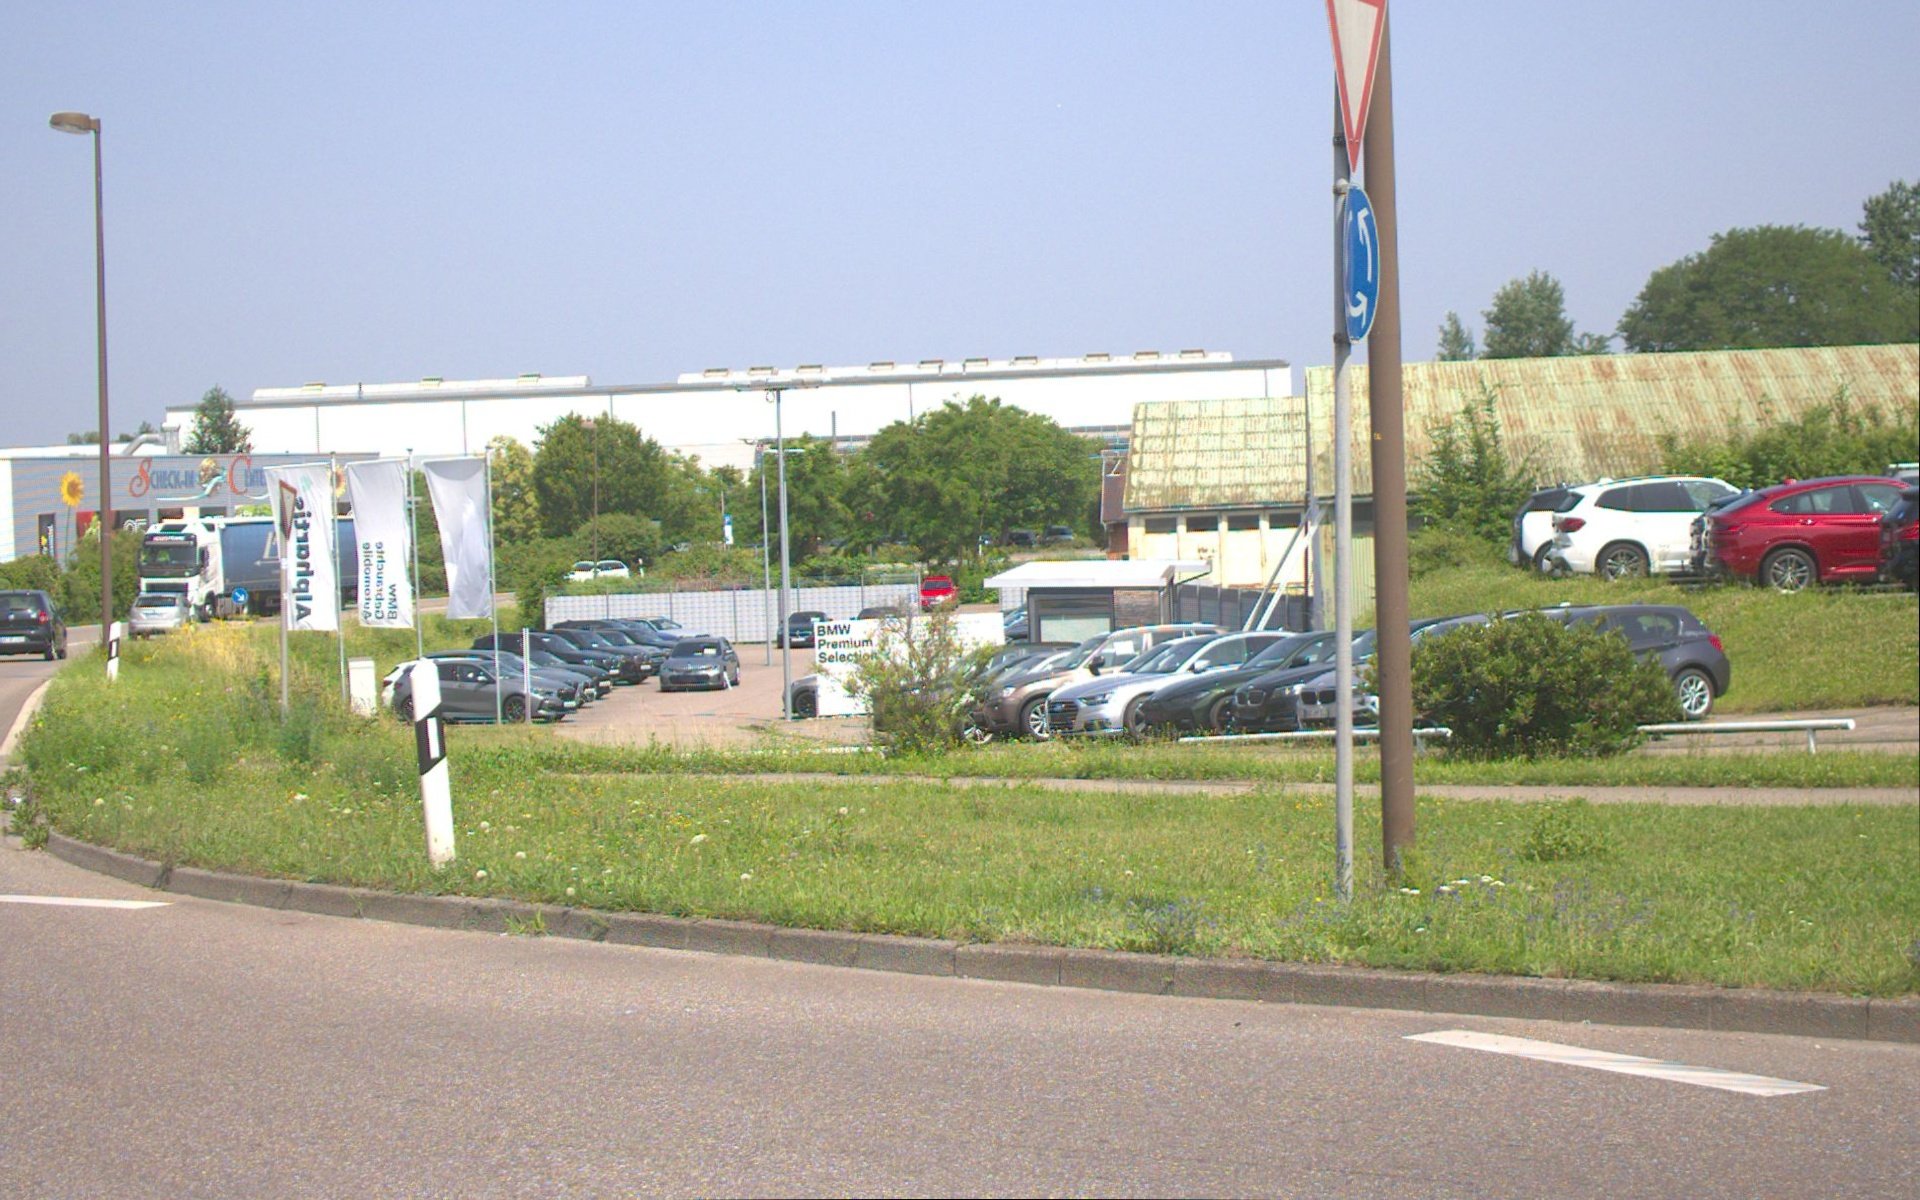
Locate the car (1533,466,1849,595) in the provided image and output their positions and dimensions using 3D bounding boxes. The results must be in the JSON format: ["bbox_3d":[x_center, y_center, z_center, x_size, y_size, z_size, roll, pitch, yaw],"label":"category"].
[{"bbox_3d":[11.179,-1.062,52.818,4.454,1.741,1.839,-3,1,3],"label":"car"}]

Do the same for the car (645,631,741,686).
[{"bbox_3d":[-7.576,1.654,98.079,2.135,1.452,4.531,-1,0,3],"label":"car"}]

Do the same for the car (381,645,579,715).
[{"bbox_3d":[-10.879,1.817,77.932,4.163,1.518,1.688,-1,0,23],"label":"car"}]

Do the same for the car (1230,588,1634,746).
[{"bbox_3d":[5.890,0.837,42.858,4.557,1.560,1.923,-4,-1,-24],"label":"car"}]

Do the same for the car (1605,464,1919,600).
[{"bbox_3d":[11.805,-0.997,50.094,4.454,1.741,1.839,-3,1,3],"label":"car"}]

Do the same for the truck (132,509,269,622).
[{"bbox_3d":[-29.750,-1.389,134.903,2.515,4.243,6.109,-2,0,15],"label":"truck"}]

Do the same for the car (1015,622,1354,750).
[{"bbox_3d":[3.261,1.245,49.928,4.420,1.460,1.923,-4,-1,-24],"label":"car"}]

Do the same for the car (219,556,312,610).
[{"bbox_3d":[-26.776,-0.654,132.710,1.995,2.007,3.998,-1,0,13],"label":"car"}]

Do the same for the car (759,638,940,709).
[{"bbox_3d":[-2.609,1.734,81.290,3.959,1.518,1.751,-2,0,11],"label":"car"}]

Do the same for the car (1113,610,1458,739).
[{"bbox_3d":[4.479,1.034,47.513,4.247,1.408,1.923,-5,-1,-16],"label":"car"}]

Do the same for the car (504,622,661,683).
[{"bbox_3d":[-11.230,1.558,102.170,4.228,1.695,1.916,-1,3,27],"label":"car"}]

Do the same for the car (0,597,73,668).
[{"bbox_3d":[-20.325,0.689,73.882,1.828,1.465,4.411,-1,0,-6],"label":"car"}]

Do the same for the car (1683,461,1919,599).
[{"bbox_3d":[12.467,-1.010,47.712,4.454,1.741,1.949,-3,1,3],"label":"car"}]

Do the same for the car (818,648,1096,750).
[{"bbox_3d":[-0.063,1.758,61.583,4.479,1.634,2.148,-2,-1,-20],"label":"car"}]

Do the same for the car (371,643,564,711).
[{"bbox_3d":[-11.631,1.817,81.233,4.162,1.518,1.750,-1,0,19],"label":"car"}]

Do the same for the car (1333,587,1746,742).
[{"bbox_3d":[6.796,0.746,40.185,4.558,1.416,1.783,-4,-1,-30],"label":"car"}]

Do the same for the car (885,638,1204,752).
[{"bbox_3d":[1.366,1.561,56.376,4.765,1.503,2.000,-4,-1,-16],"label":"car"}]

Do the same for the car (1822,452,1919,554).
[{"bbox_3d":[15.577,-1.622,56.764,1.917,1.590,4.304,-3,1,5],"label":"car"}]

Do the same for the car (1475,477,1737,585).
[{"bbox_3d":[10.319,-1.101,55.112,3.875,1.527,1.768,-3,1,3],"label":"car"}]

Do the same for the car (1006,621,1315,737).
[{"bbox_3d":[3.049,1.214,52.512,4.247,1.460,1.874,-4,-1,-16],"label":"car"}]

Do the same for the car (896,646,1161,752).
[{"bbox_3d":[1.153,1.697,58.685,3.986,1.547,2.000,-3,-1,-20],"label":"car"}]

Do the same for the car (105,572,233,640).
[{"bbox_3d":[-24.405,0.173,106.192,1.995,2.007,3.996,-1,0,20],"label":"car"}]

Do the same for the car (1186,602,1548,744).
[{"bbox_3d":[5.369,0.959,45.320,4.248,1.477,1.923,-4,-1,-24],"label":"car"}]

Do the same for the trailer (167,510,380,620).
[{"bbox_3d":[-28.034,-1.410,141.465,2.672,4.227,14.557,-1,0,14],"label":"trailer"}]

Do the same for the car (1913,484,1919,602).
[{"bbox_3d":[14.245,-0.793,42.361,4.454,1.494,1.950,-3,1,3],"label":"car"}]

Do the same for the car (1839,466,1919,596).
[{"bbox_3d":[13.895,-0.984,44.615,4.454,1.629,1.949,-3,1,3],"label":"car"}]

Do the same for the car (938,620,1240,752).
[{"bbox_3d":[2.030,1.362,54.398,4.247,1.742,2.000,-4,-1,-16],"label":"car"}]
